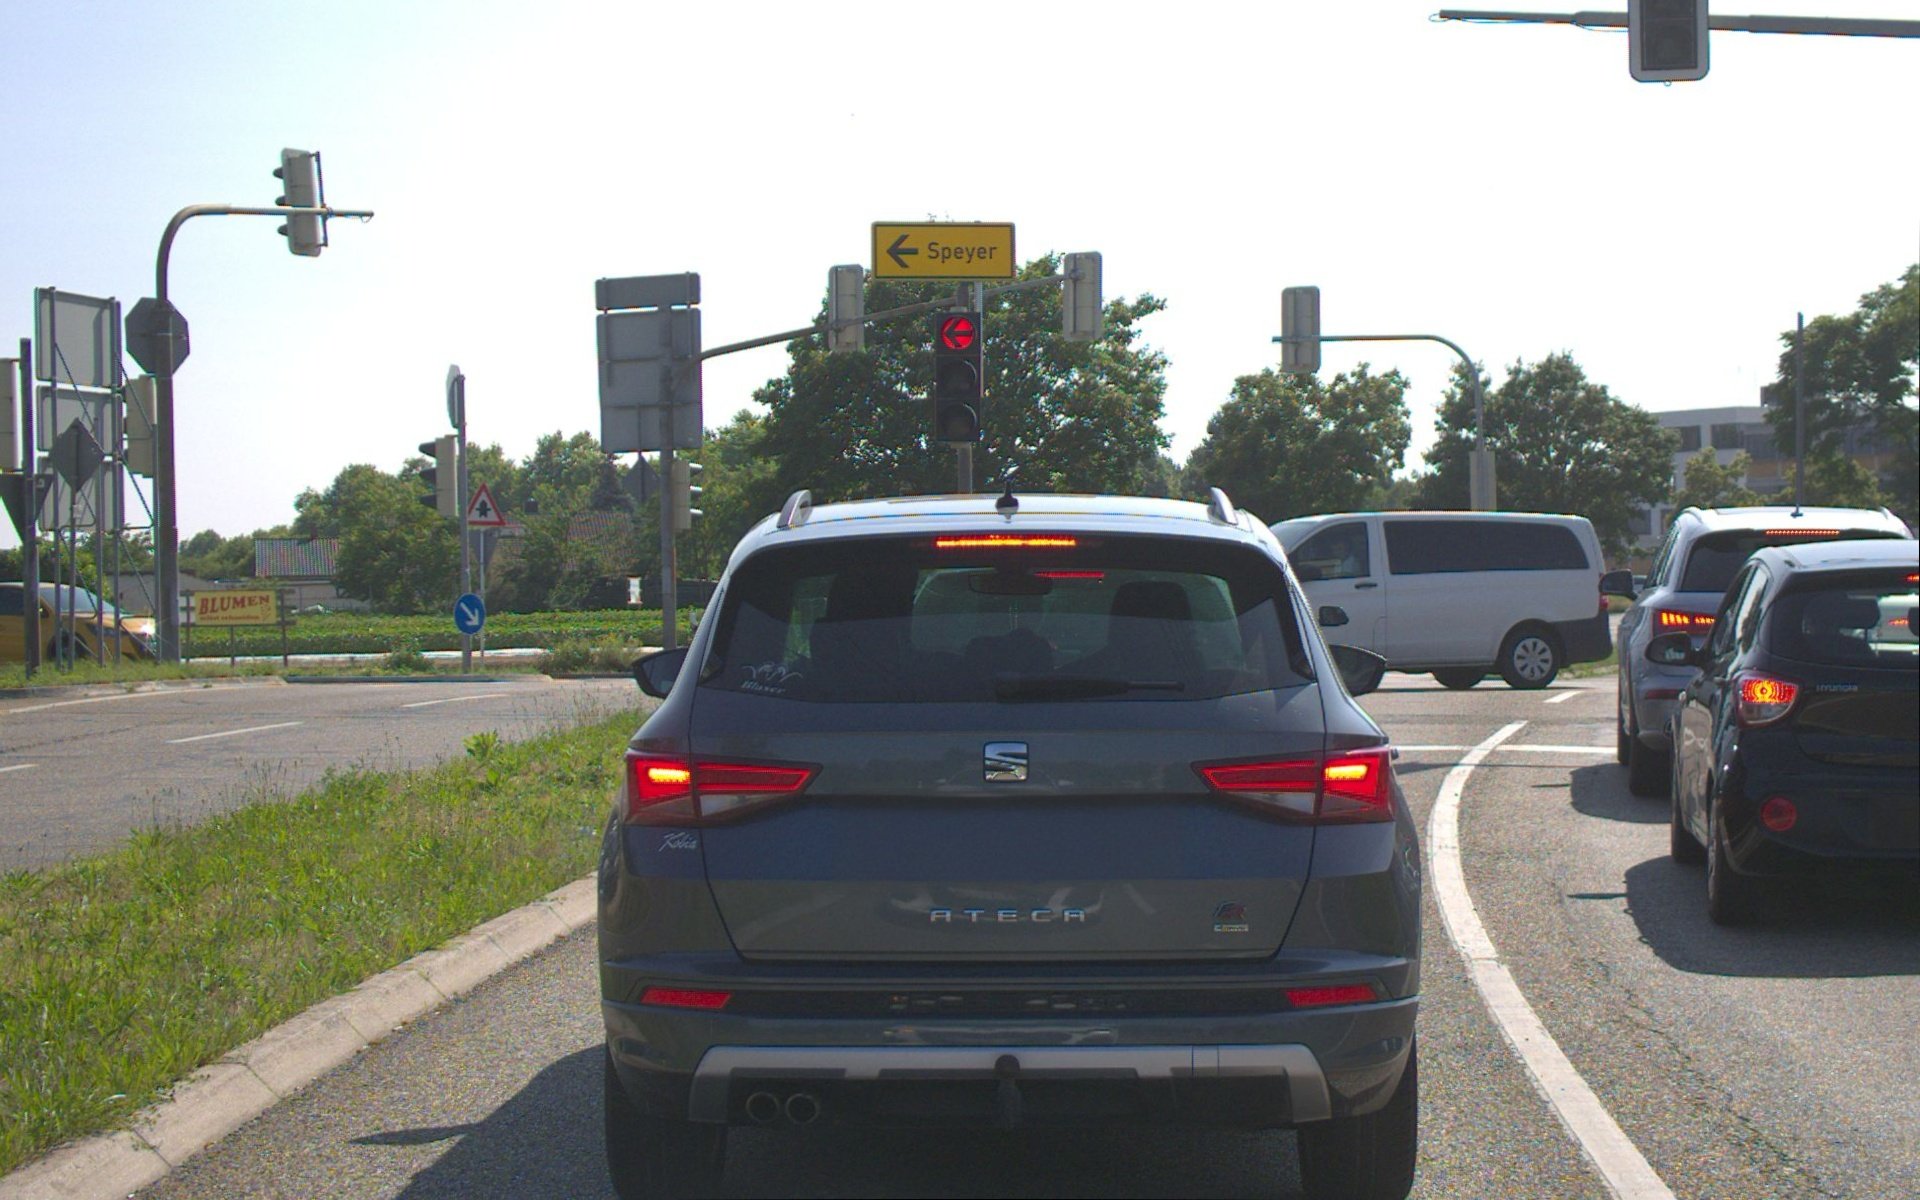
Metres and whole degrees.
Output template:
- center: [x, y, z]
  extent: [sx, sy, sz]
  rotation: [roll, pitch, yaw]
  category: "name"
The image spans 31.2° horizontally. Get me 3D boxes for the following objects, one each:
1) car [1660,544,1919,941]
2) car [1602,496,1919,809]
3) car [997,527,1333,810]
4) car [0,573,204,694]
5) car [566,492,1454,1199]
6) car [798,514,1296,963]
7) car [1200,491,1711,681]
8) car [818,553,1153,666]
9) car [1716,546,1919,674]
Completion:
- center: [3.827, 0.498, 14.173]
  extent: [1.633, 1.443, 3.294]
  rotation: [1, 1, 8]
  category: "car"
- center: [4.733, 0.258, 20.420]
  extent: [1.633, 1.671, 3.748]
  rotation: [1, 1, 8]
  category: "car"
- center: [1.284, 0.346, 20.153]
  extent: [1.742, 1.479, 3.623]
  rotation: [1, 1, 7]
  category: "car"
- center: [-12.900, 0.461, 48.866]
  extent: [3.993, 1.645, 1.817]
  rotation: [0, 1, 29]
  category: "car"
- center: [0.133, 0.548, 8.582]
  extent: [1.742, 1.563, 3.624]
  rotation: [0, 1, 1]
  category: "car"
- center: [0.373, 0.470, 14.028]
  extent: [1.742, 1.563, 3.624]
  rotation: [1, 1, 2]
  category: "car"
- center: [5.212, -0.165, 36.290]
  extent: [4.930, 1.911, 2.001]
  rotation: [0, 1, -17]
  category: "car"
- center: [0.350, 0.129, 48.042]
  extent: [4.327, 1.514, 1.805]
  rotation: [0, 1, 27]
  category: "car"
- center: [11.514, 0.110, 41.530]
  extent: [4.327, 1.514, 1.805]
  rotation: [0, 1, 27]
  category: "car"
